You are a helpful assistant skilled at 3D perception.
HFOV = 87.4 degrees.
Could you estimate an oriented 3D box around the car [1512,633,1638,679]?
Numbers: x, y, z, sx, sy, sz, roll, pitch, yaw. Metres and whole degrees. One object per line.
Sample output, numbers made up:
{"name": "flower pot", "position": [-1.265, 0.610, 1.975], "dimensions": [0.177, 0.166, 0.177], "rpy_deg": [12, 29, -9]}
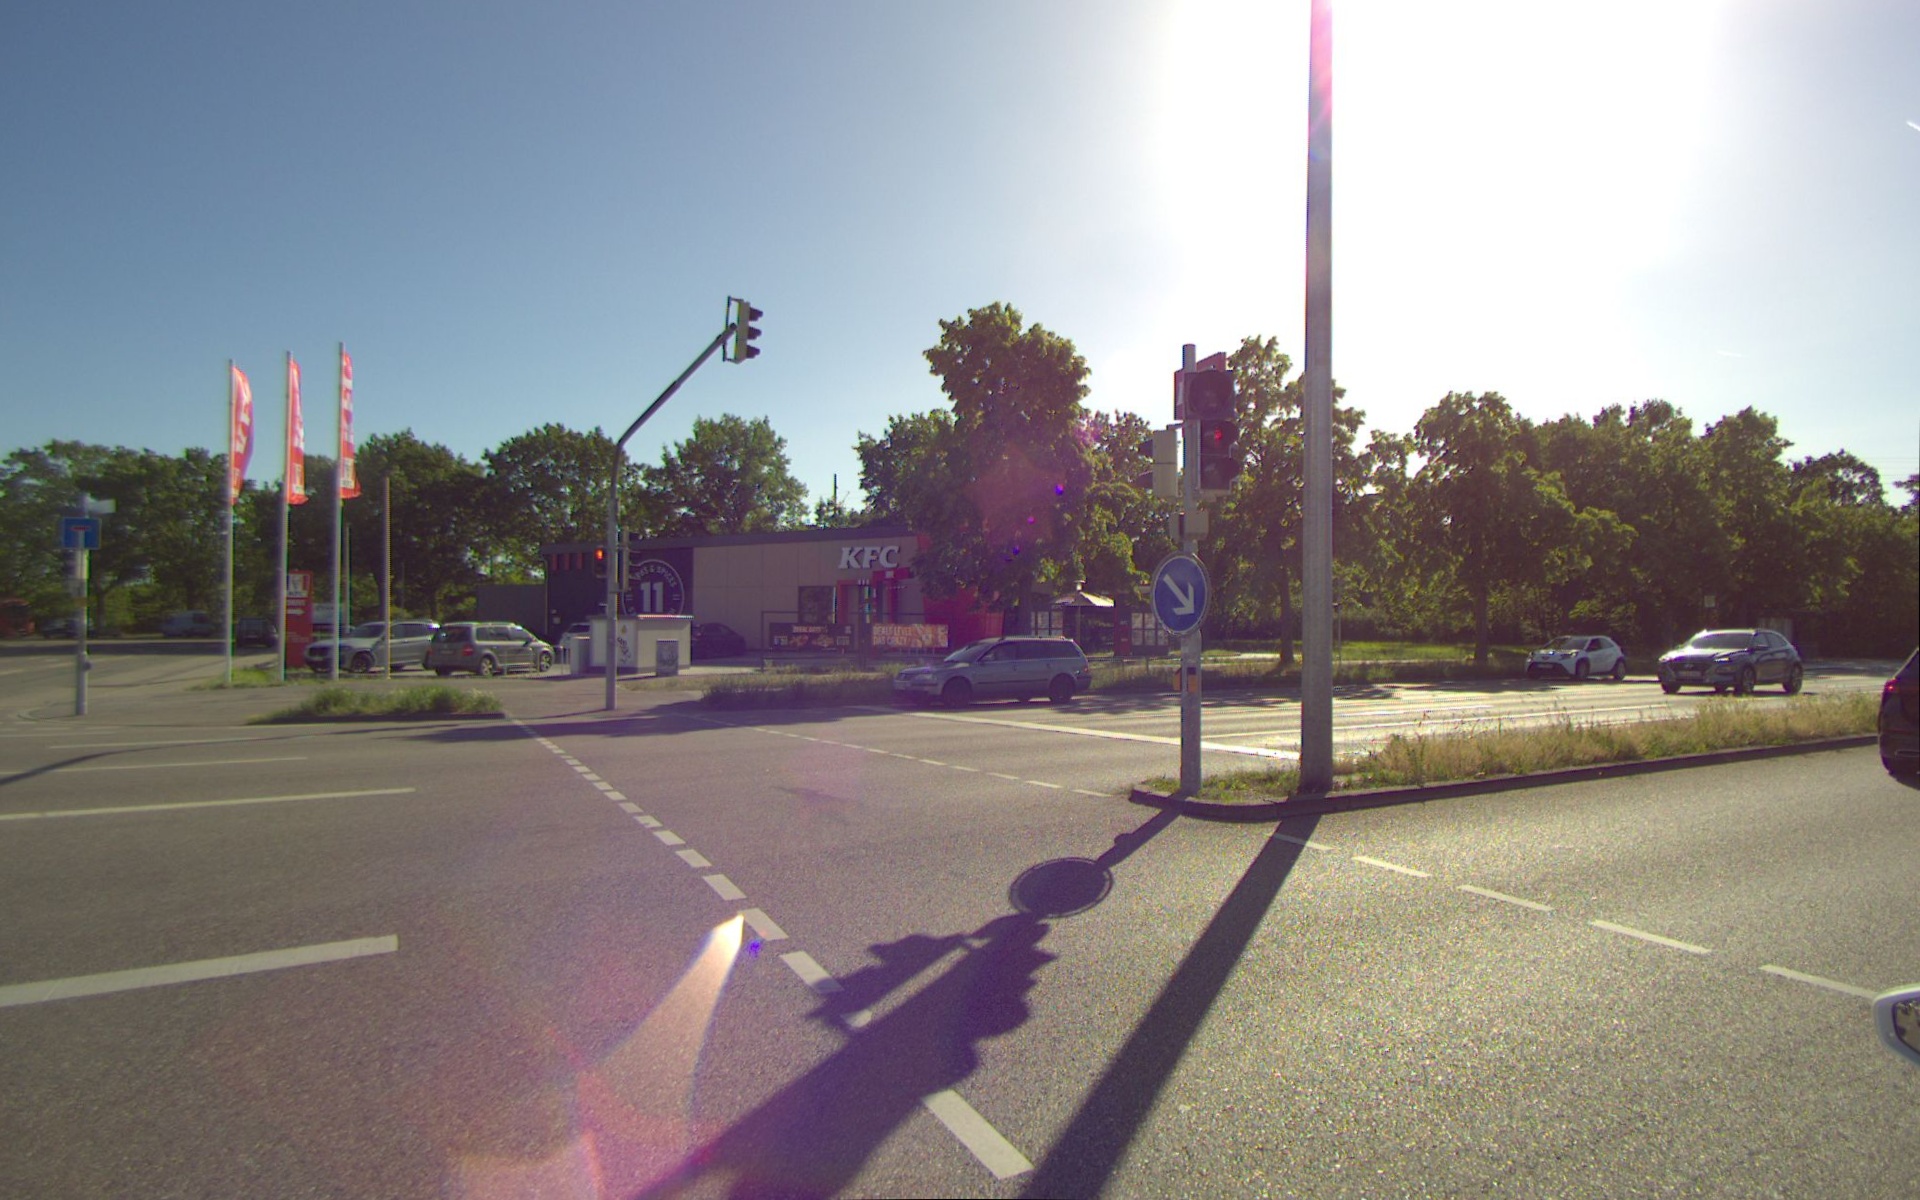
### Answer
{"name": "car", "position": [21.104, 1.901, 34.467], "dimensions": [4.147, 1.493, 1.984], "rpy_deg": [2, -2, -30]}

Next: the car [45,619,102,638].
{"name": "car", "position": [-86.062, 2.806, 97.551], "dimensions": [4.693, 1.823, 2.102], "rpy_deg": [-1, -3, 20]}

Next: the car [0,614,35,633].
{"name": "car", "position": [-95.344, 2.403, 100.283], "dimensions": [4.690, 1.823, 2.103], "rpy_deg": [-1, -2, 13]}

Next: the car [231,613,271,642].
{"name": "car", "position": [-46.982, 1.848, 66.523], "dimensions": [1.893, 1.867, 4.252], "rpy_deg": [2, -3, -39]}

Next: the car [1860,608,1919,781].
{"name": "car", "position": [11.025, 0.944, 10.136], "dimensions": [4.175, 1.619, 1.699], "rpy_deg": [2, 0, -30]}

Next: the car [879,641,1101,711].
{"name": "car", "position": [0.697, 1.616, 22.187], "dimensions": [4.569, 1.394, 1.984], "rpy_deg": [2, -2, -30]}

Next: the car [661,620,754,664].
{"name": "car", "position": [-10.601, 1.727, 42.489], "dimensions": [1.858, 1.684, 4.243], "rpy_deg": [1, 0, 17]}

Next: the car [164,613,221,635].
{"name": "car", "position": [-66.961, 2.106, 87.630], "dimensions": [4.699, 1.823, 2.099], "rpy_deg": [-1, -3, 27]}

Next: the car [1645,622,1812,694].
{"name": "car", "position": [19.143, 1.433, 25.015], "dimensions": [4.122, 1.663, 1.866], "rpy_deg": [2, -3, -30]}

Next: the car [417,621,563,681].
{"name": "car", "position": [-14.801, 1.559, 31.869], "dimensions": [1.858, 1.684, 4.134], "rpy_deg": [1, 0, 17]}

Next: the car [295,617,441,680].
{"name": "car", "position": [-19.342, 1.530, 32.984], "dimensions": [1.811, 1.875, 3.830], "rpy_deg": [1, 0, 20]}

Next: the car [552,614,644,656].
{"name": "car", "position": [-16.070, 1.566, 44.800], "dimensions": [1.845, 1.771, 4.002], "rpy_deg": [0, -2, 15]}
